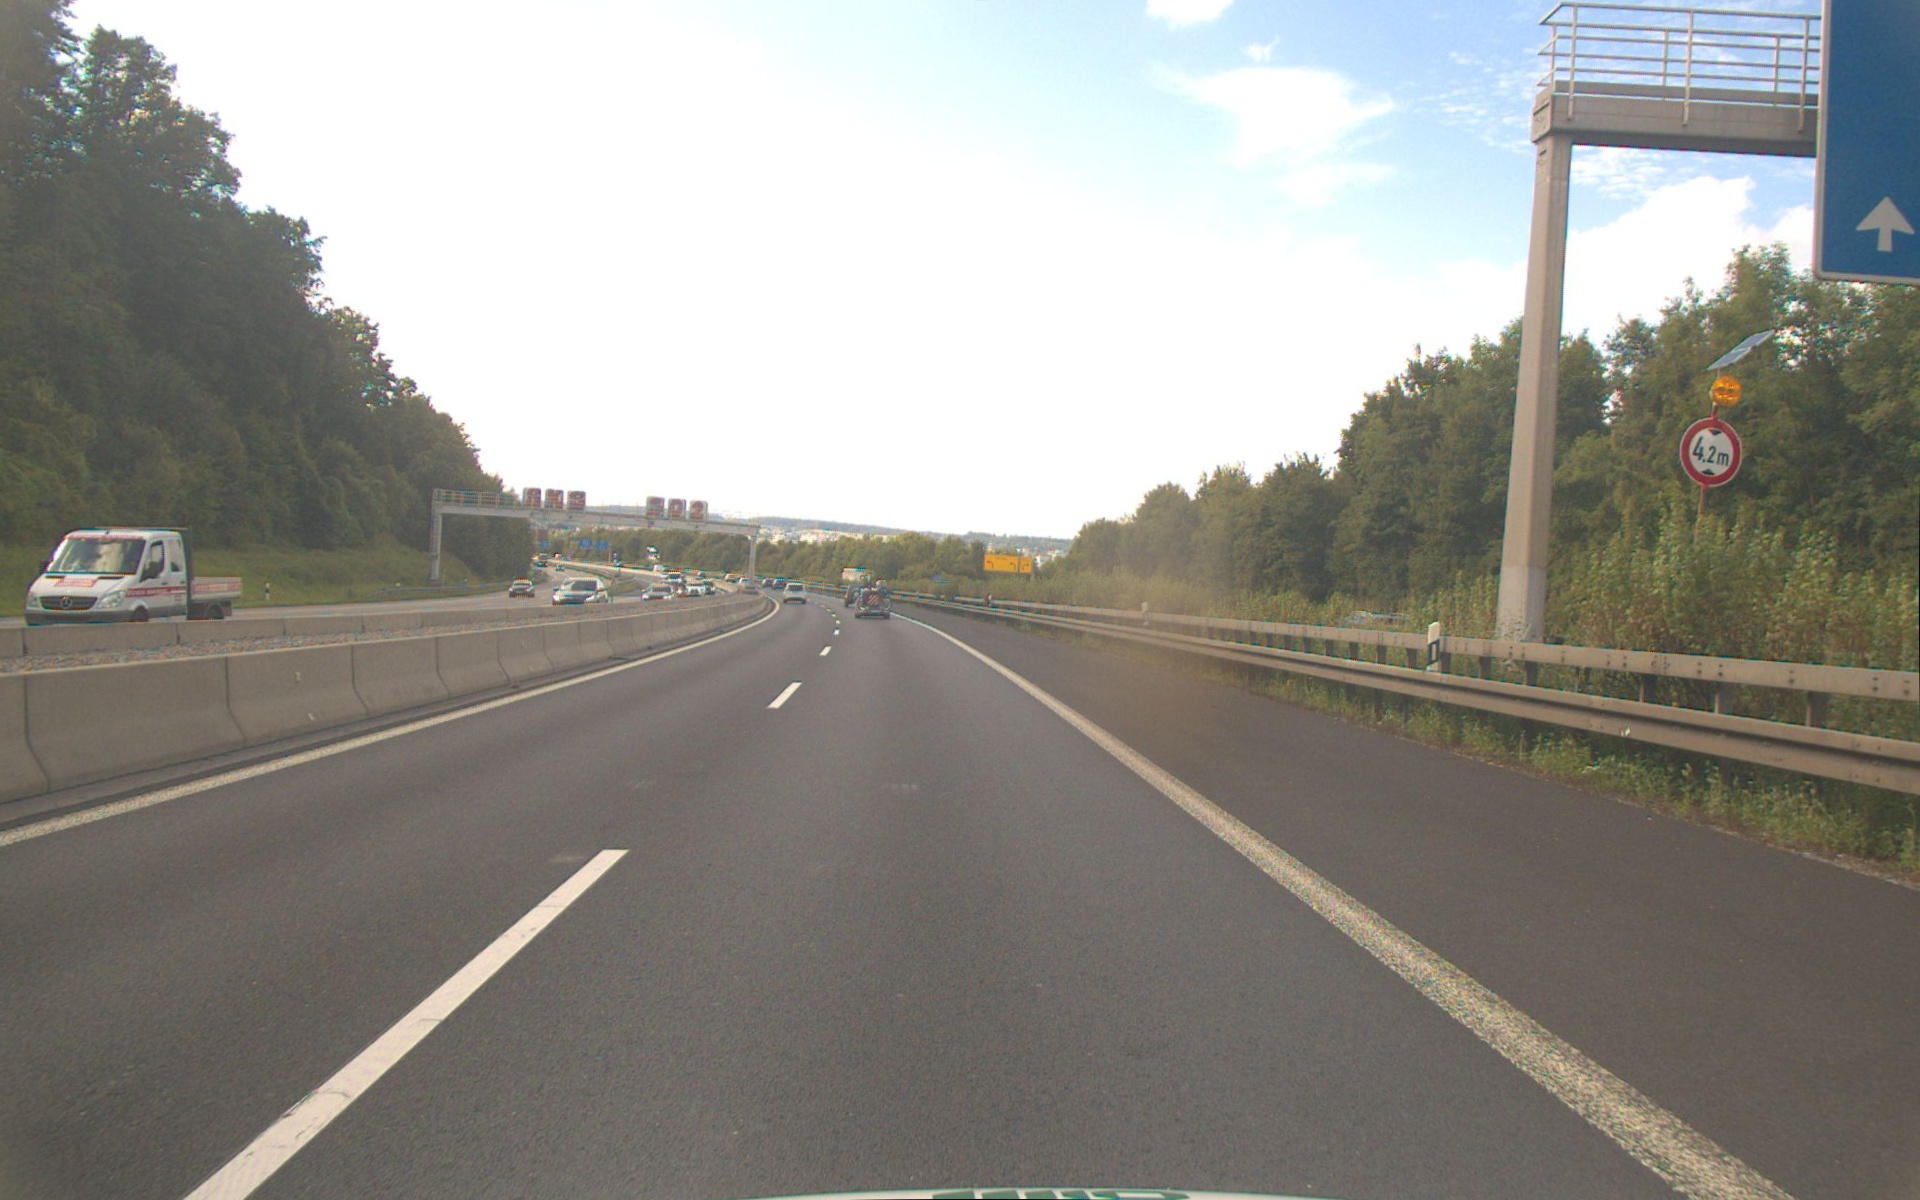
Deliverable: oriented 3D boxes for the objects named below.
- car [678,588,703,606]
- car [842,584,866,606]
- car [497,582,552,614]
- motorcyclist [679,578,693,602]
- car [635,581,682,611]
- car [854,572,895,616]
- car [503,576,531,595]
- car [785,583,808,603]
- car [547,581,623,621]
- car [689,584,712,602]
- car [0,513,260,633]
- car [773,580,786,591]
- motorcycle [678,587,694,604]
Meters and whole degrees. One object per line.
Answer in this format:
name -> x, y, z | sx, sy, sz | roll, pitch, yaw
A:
car -> -23.882, -0.287, 146.801 | 1.726, 1.486, 4.292 | 1, 0, -4
car -> -8.288, -0.371, 129.035 | 1.557, 1.624, 4.089 | 1, 1, -7
car -> -21.880, -0.088, 83.221 | 1.877, 1.536, 3.997 | 1, 0, -3
motorcyclist -> -19.592, -0.718, 118.265 | 0.877, 1.662, 0.921 | 1, 0, -3
car -> -17.186, -0.217, 94.370 | 1.953, 1.655, 4.775 | 1, 0, -2
car -> -4.593, -0.350, 88.354 | 1.991, 2.189, 3.996 | 1, 1, -5
car -> -36.892, -1.188, 137.829 | 1.705, 1.536, 3.993 | 1, 0, -8
car -> -14.159, -0.595, 142.902 | 1.955, 1.713, 3.994 | 1, 0, -6
car -> -15.499, 0.010, 68.654 | 1.942, 1.536, 5.959 | 1, 0, -2
car -> -25.816, -0.663, 164.707 | 1.839, 1.727, 4.311 | 1, 0, -4
car -> -17.147, -0.511, 34.402 | 2.157, 2.167, 8.070 | 1, 0, -4
car -> -27.419, -2.151, 250.982 | 1.577, 1.585, 3.988 | 1, 0, -12
motorcycle -> -19.587, -0.314, 118.314 | 0.904, 1.209, 2.637 | 1, 0, -5
